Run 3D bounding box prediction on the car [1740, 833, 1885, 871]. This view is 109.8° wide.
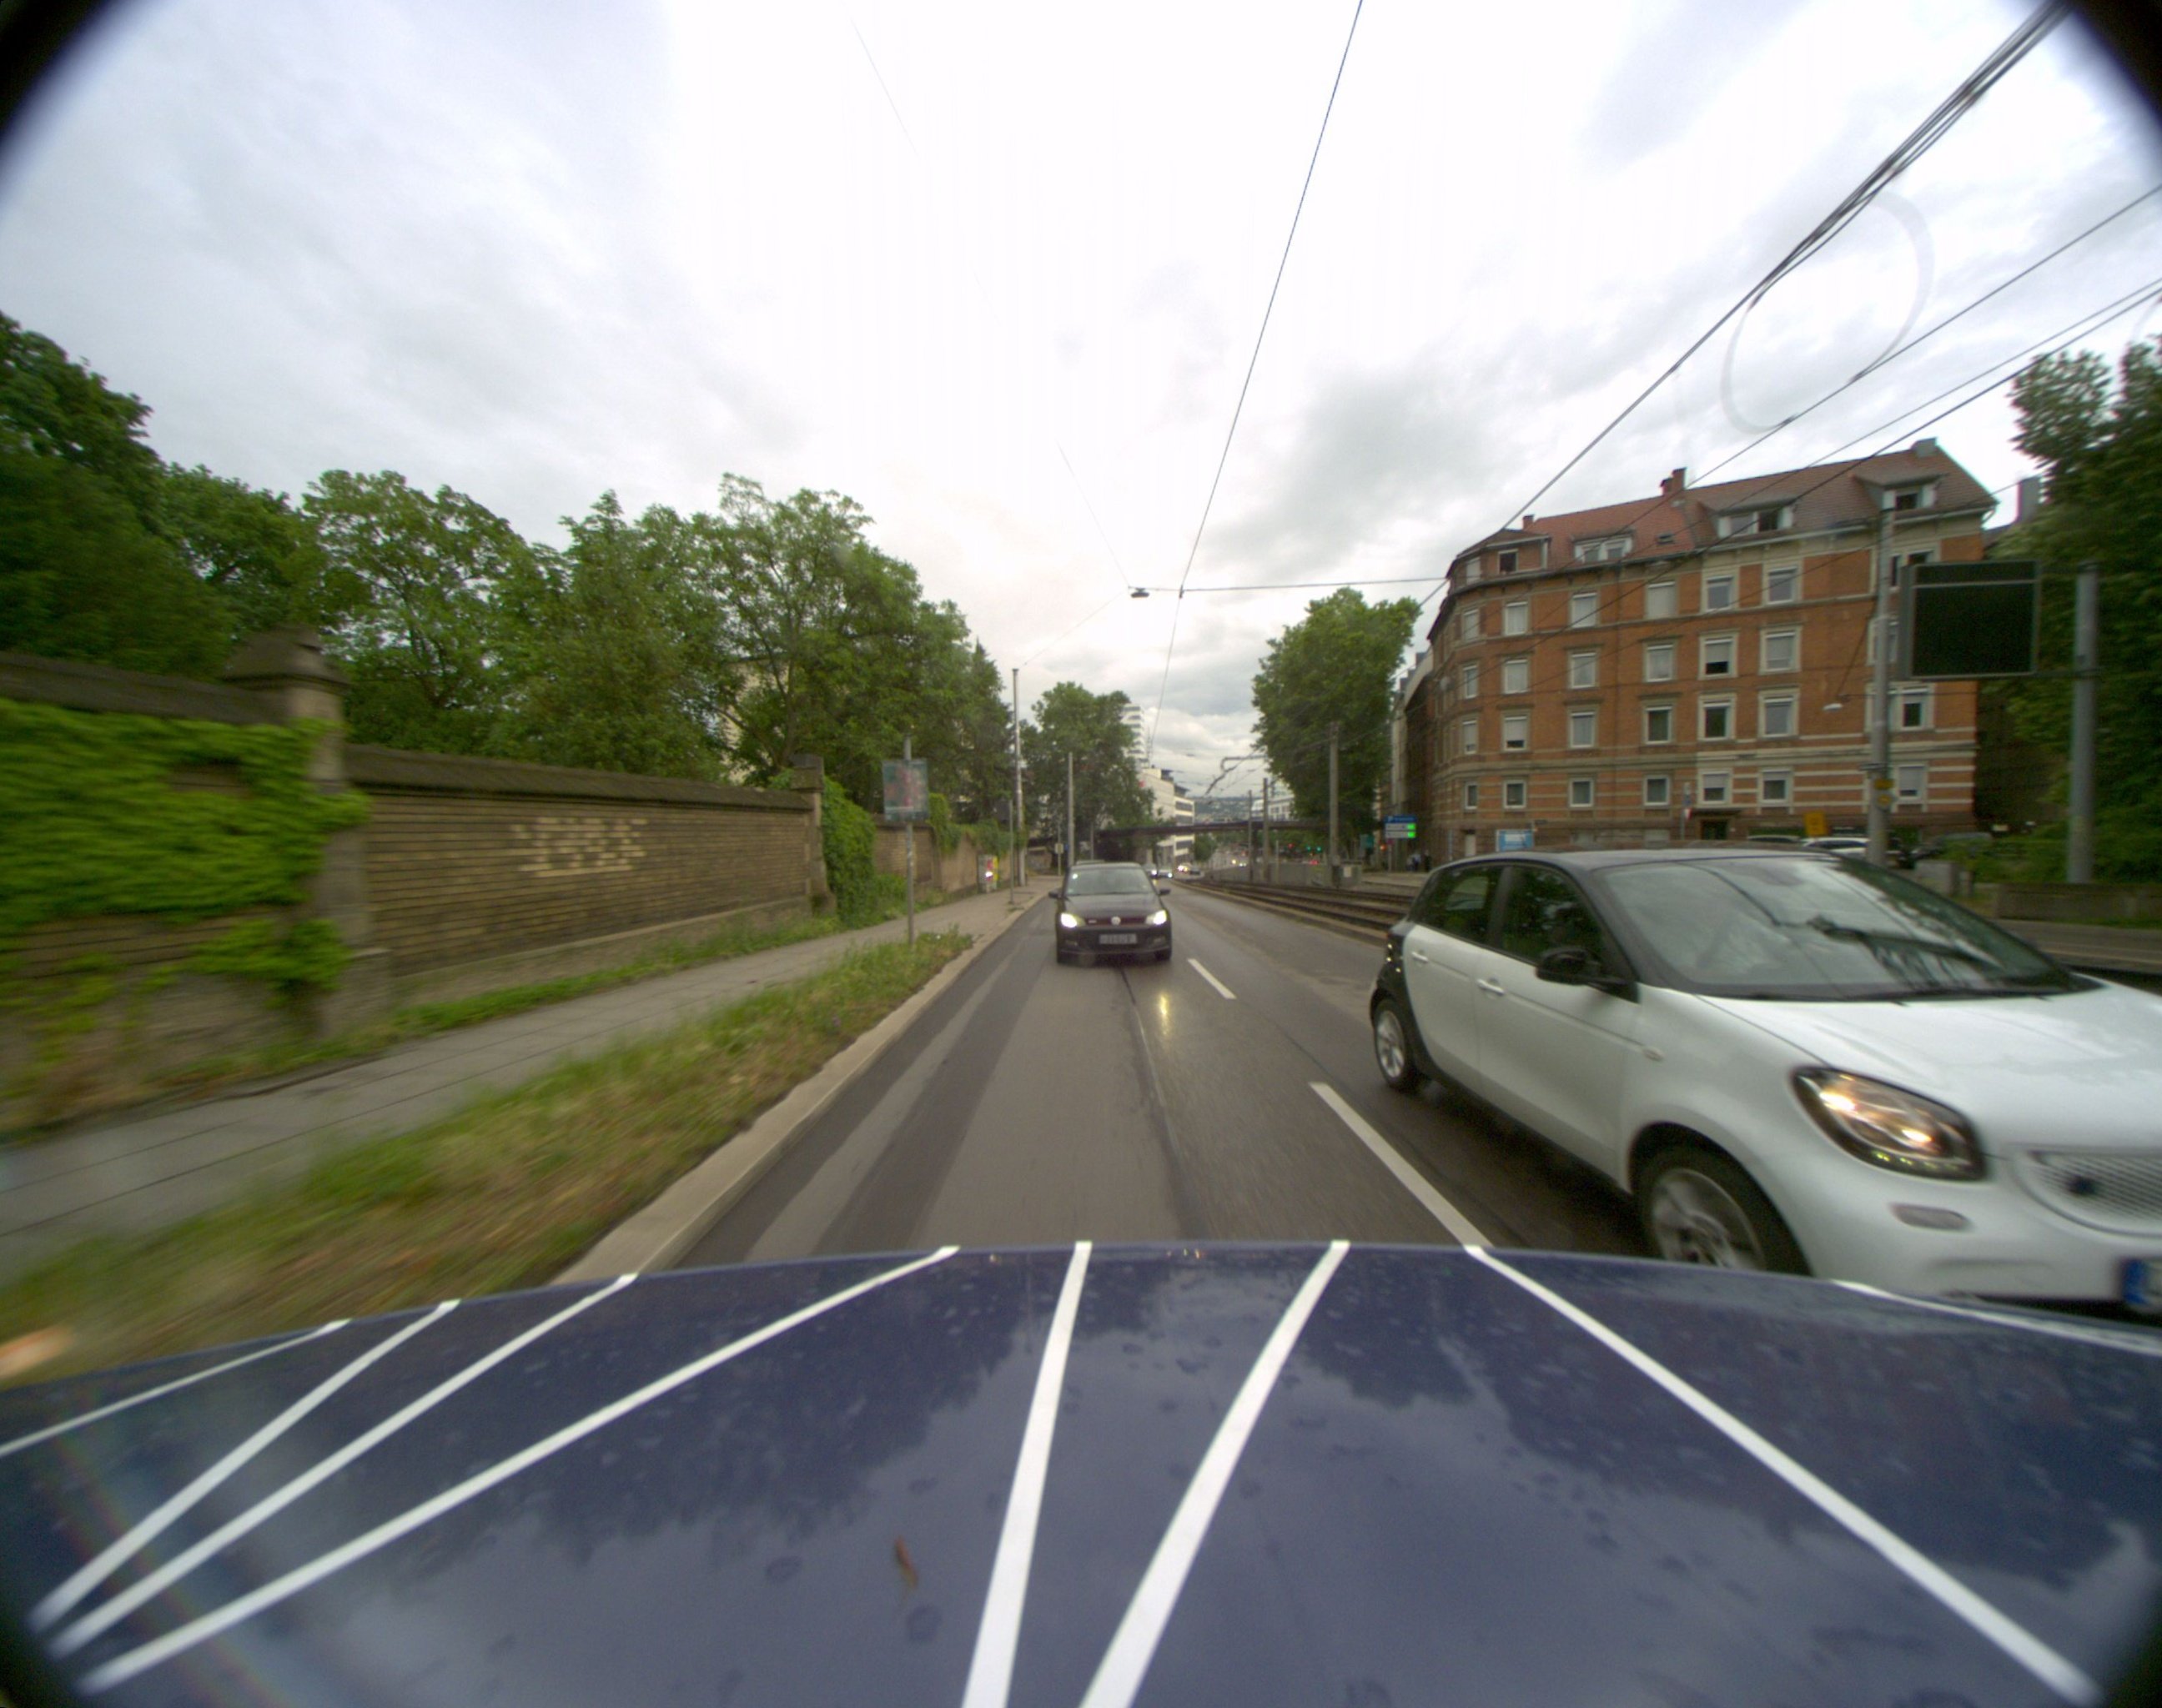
[{"bbox_3d":[33.429,-0.064,34.912,4.427,1.588,1.844,-1,0,23],"label":"car"}]

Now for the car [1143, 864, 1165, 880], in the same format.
[{"bbox_3d":[6.570,1.594,68.183,1.639,1.368,3.576,-1,0,9],"label":"car"}]

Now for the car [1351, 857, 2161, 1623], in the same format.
[{"bbox_3d":[2.700,0.800,3.403,1.680,1.522,3.721,-1,0,1],"label":"car"}]

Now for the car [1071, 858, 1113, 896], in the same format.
[{"bbox_3d":[0.494,0.928,32.564,1.658,1.483,3.830,-1,0,2],"label":"car"}]

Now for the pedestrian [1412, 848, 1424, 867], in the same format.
[{"bbox_3d":[24.392,0.223,54.974,0.620,1.346,0.538,-2,1,1],"label":"pedestrian"}]

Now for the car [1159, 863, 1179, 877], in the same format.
[{"bbox_3d":[9.774,1.776,84.216,1.734,1.368,4.003,-2,0,12],"label":"car"}]

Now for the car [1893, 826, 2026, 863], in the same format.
[{"bbox_3d":[37.865,-0.387,32.855,3.379,1.458,1.659,-1,0,23],"label":"car"}]

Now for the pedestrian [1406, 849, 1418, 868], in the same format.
[{"bbox_3d":[23.669,0.302,54.362,0.620,1.346,0.538,-2,1,1],"label":"pedestrian"}]

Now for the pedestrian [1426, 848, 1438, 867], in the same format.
[{"bbox_3d":[25.075,0.259,54.285,0.620,1.346,0.538,-3,2,1],"label":"pedestrian"}]

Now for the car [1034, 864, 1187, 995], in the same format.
[{"bbox_3d":[0.384,0.933,11.128,1.798,1.477,3.965,-2,0,1],"label":"car"}]
